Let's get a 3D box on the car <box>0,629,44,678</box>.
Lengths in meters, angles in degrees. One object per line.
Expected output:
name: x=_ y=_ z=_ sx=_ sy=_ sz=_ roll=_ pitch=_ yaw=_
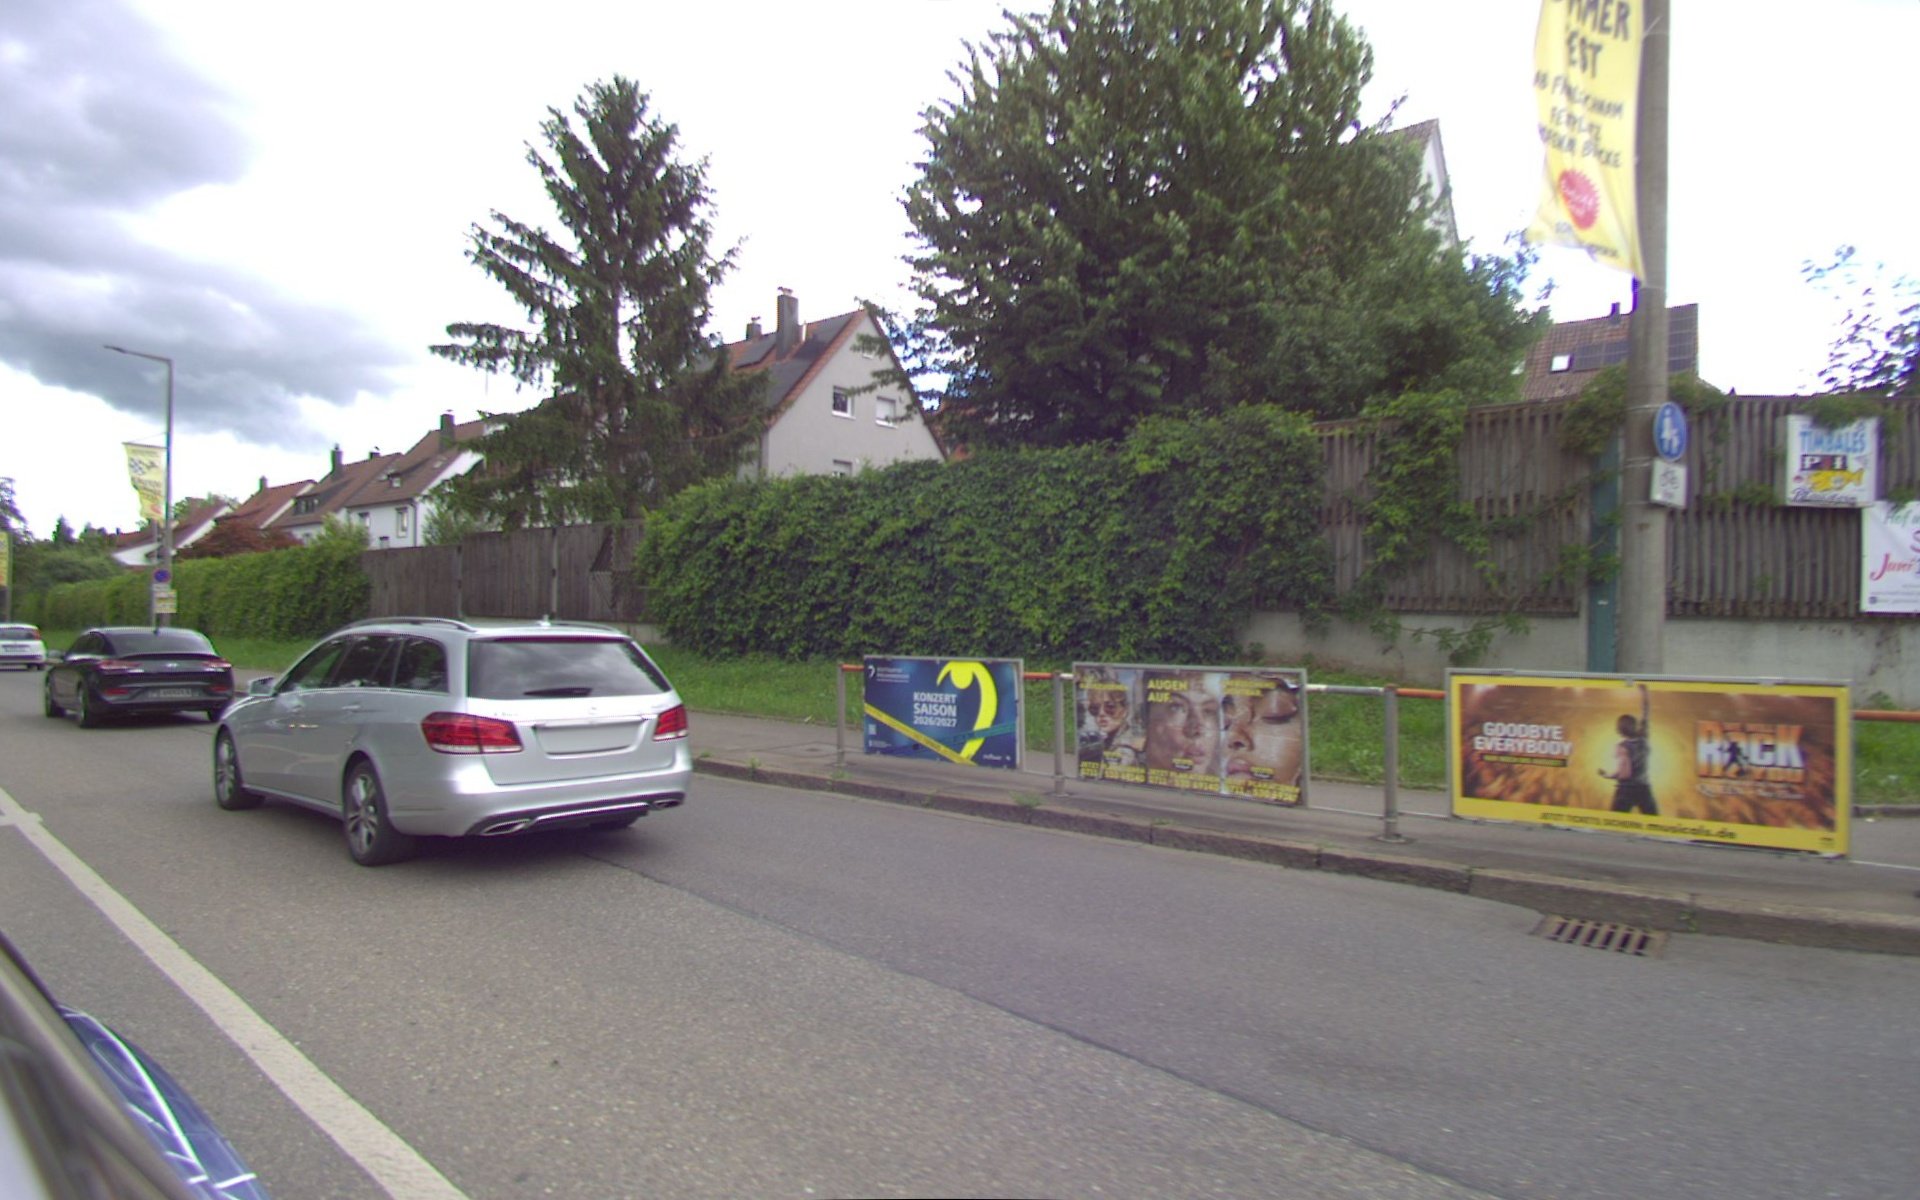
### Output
car: x=-31.960 y=1.743 z=33.444 sx=4.696 sy=1.536 sz=1.794 roll=-1 pitch=-3 yaw=39

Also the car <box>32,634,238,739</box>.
car: x=-12.870 y=1.252 z=15.702 sx=4.159 sy=1.383 sz=1.793 roll=-1 pitch=-4 yaw=42

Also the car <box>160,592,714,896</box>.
car: x=-4.212 y=0.793 z=7.645 sx=5.199 sy=1.579 sz=1.801 roll=-1 pitch=0 yaw=39
